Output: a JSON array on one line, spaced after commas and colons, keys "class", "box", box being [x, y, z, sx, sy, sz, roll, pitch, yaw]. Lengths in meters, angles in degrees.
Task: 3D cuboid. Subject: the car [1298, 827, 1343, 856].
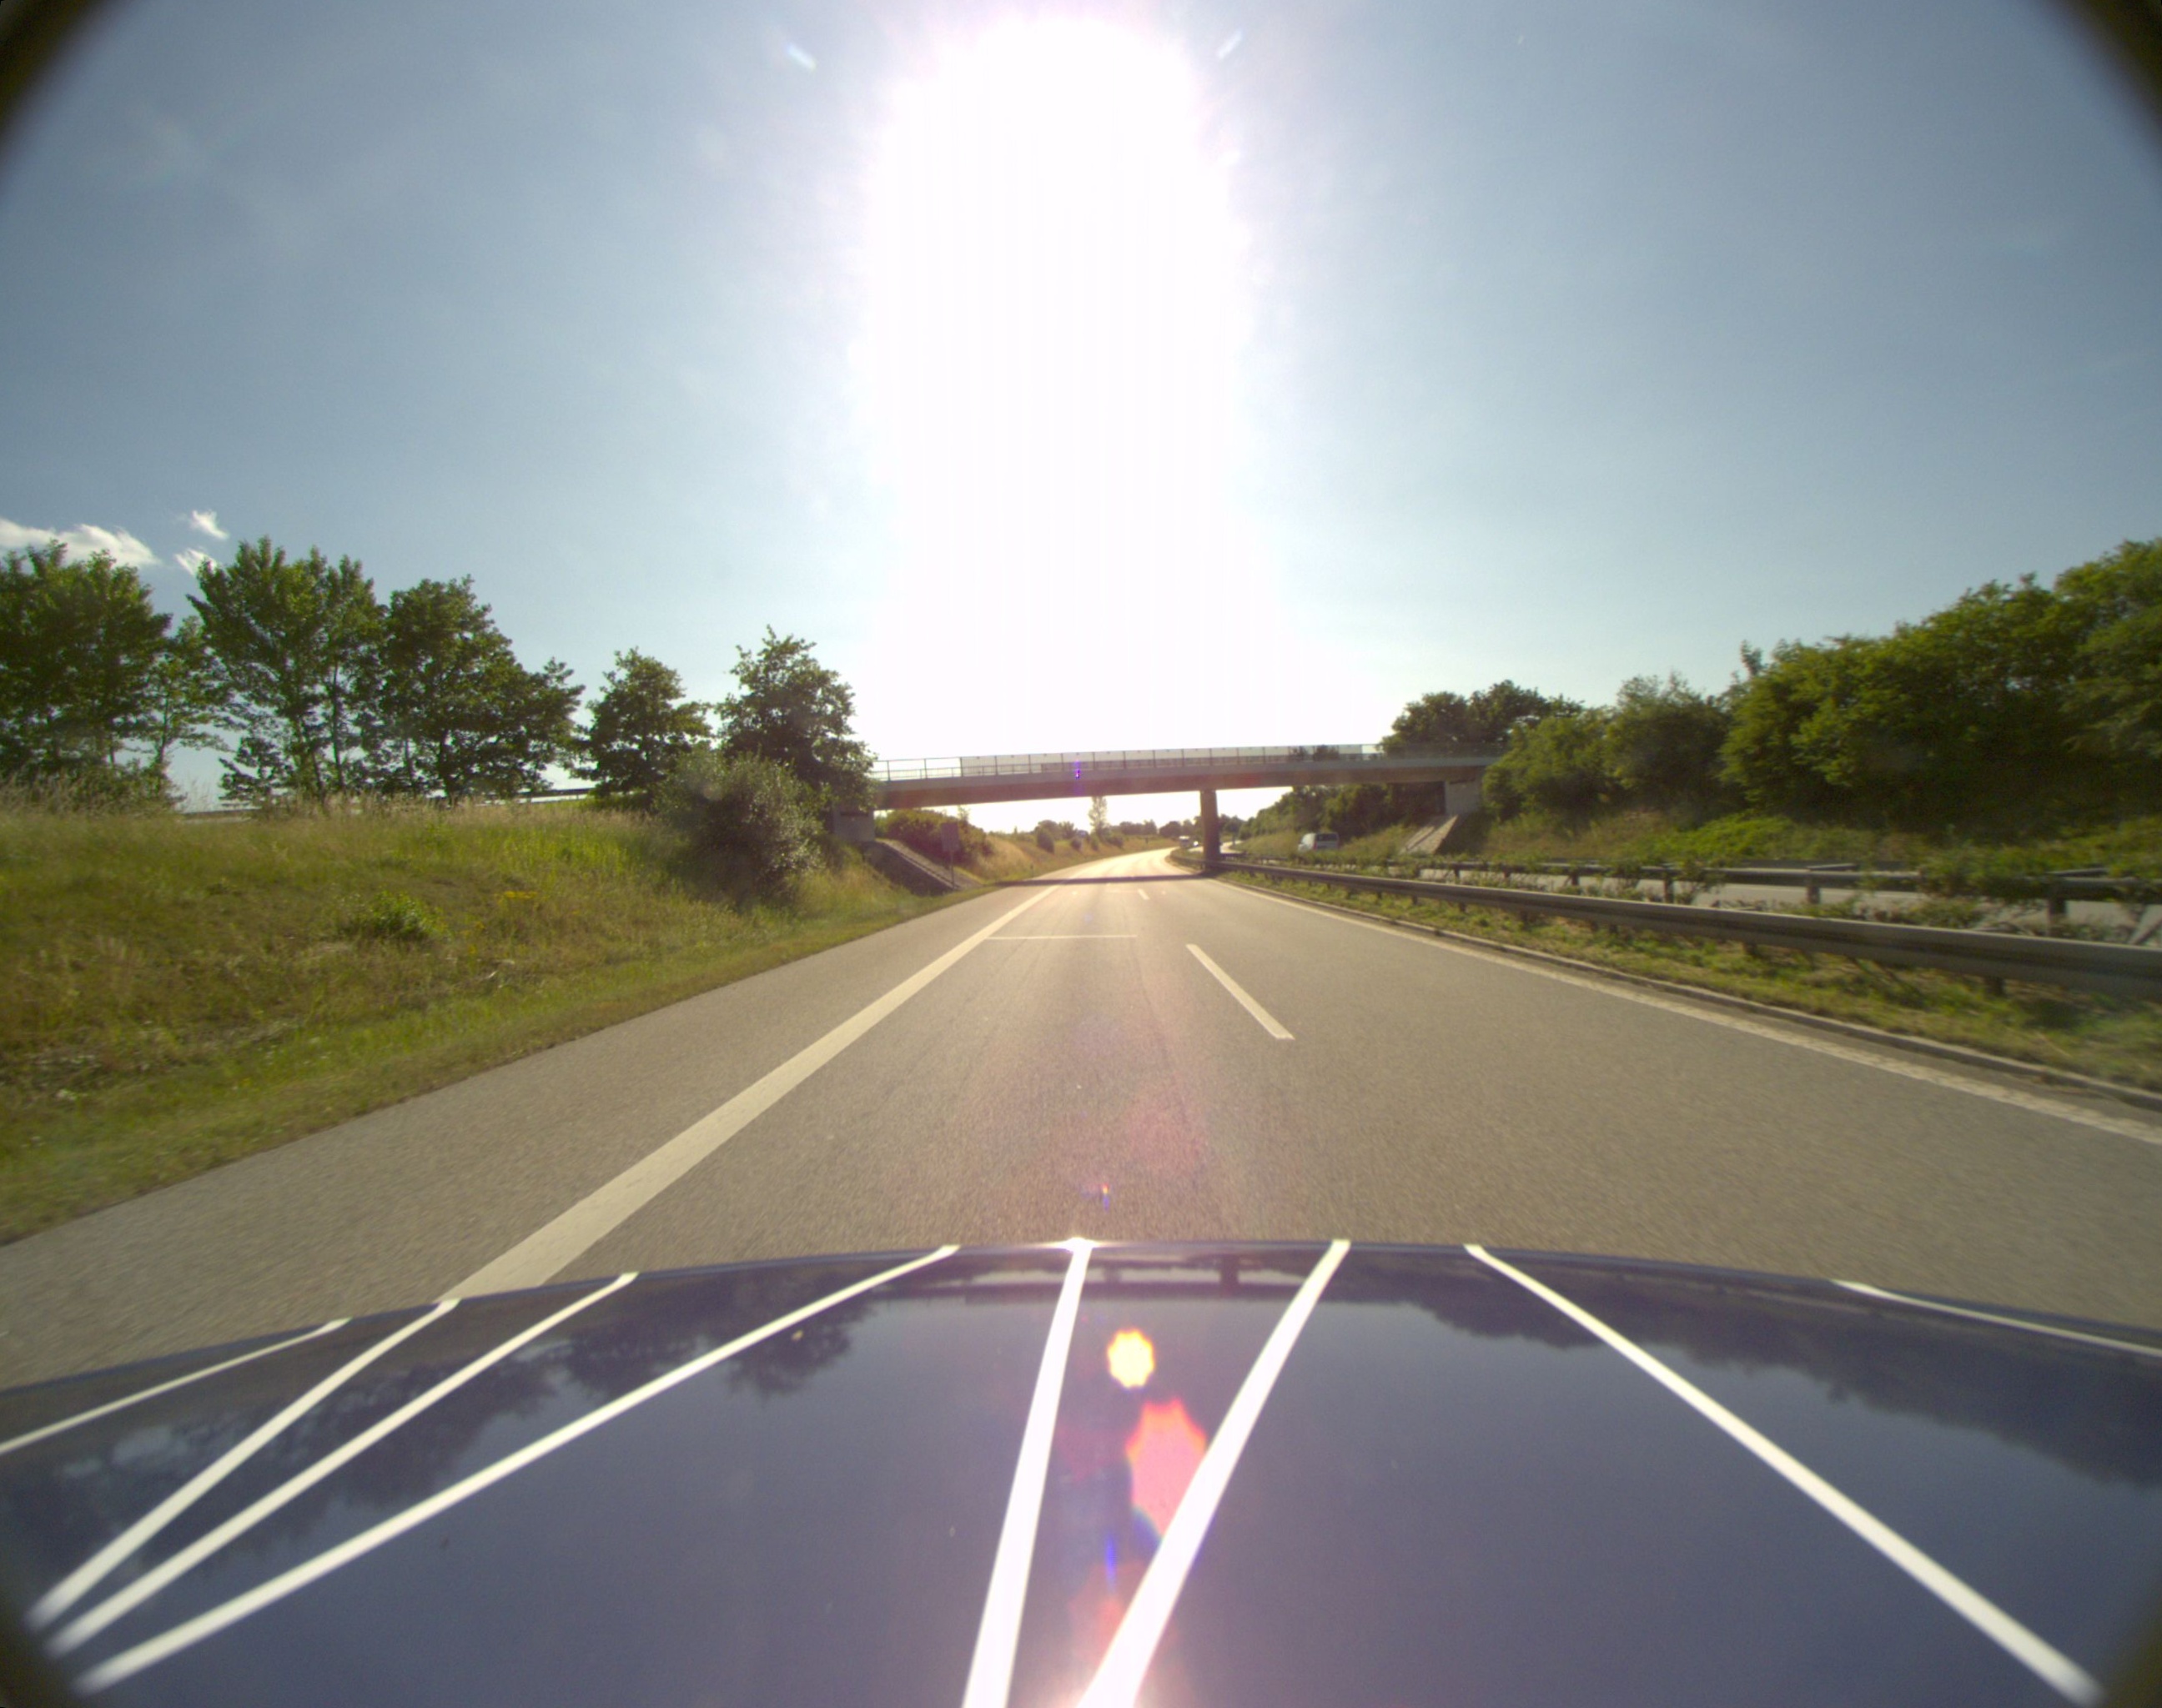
[{"class": "car", "box": [16.696, -0.880, 53.166, 1.861, 1.846, 4.623, -2, 1, 3]}]
